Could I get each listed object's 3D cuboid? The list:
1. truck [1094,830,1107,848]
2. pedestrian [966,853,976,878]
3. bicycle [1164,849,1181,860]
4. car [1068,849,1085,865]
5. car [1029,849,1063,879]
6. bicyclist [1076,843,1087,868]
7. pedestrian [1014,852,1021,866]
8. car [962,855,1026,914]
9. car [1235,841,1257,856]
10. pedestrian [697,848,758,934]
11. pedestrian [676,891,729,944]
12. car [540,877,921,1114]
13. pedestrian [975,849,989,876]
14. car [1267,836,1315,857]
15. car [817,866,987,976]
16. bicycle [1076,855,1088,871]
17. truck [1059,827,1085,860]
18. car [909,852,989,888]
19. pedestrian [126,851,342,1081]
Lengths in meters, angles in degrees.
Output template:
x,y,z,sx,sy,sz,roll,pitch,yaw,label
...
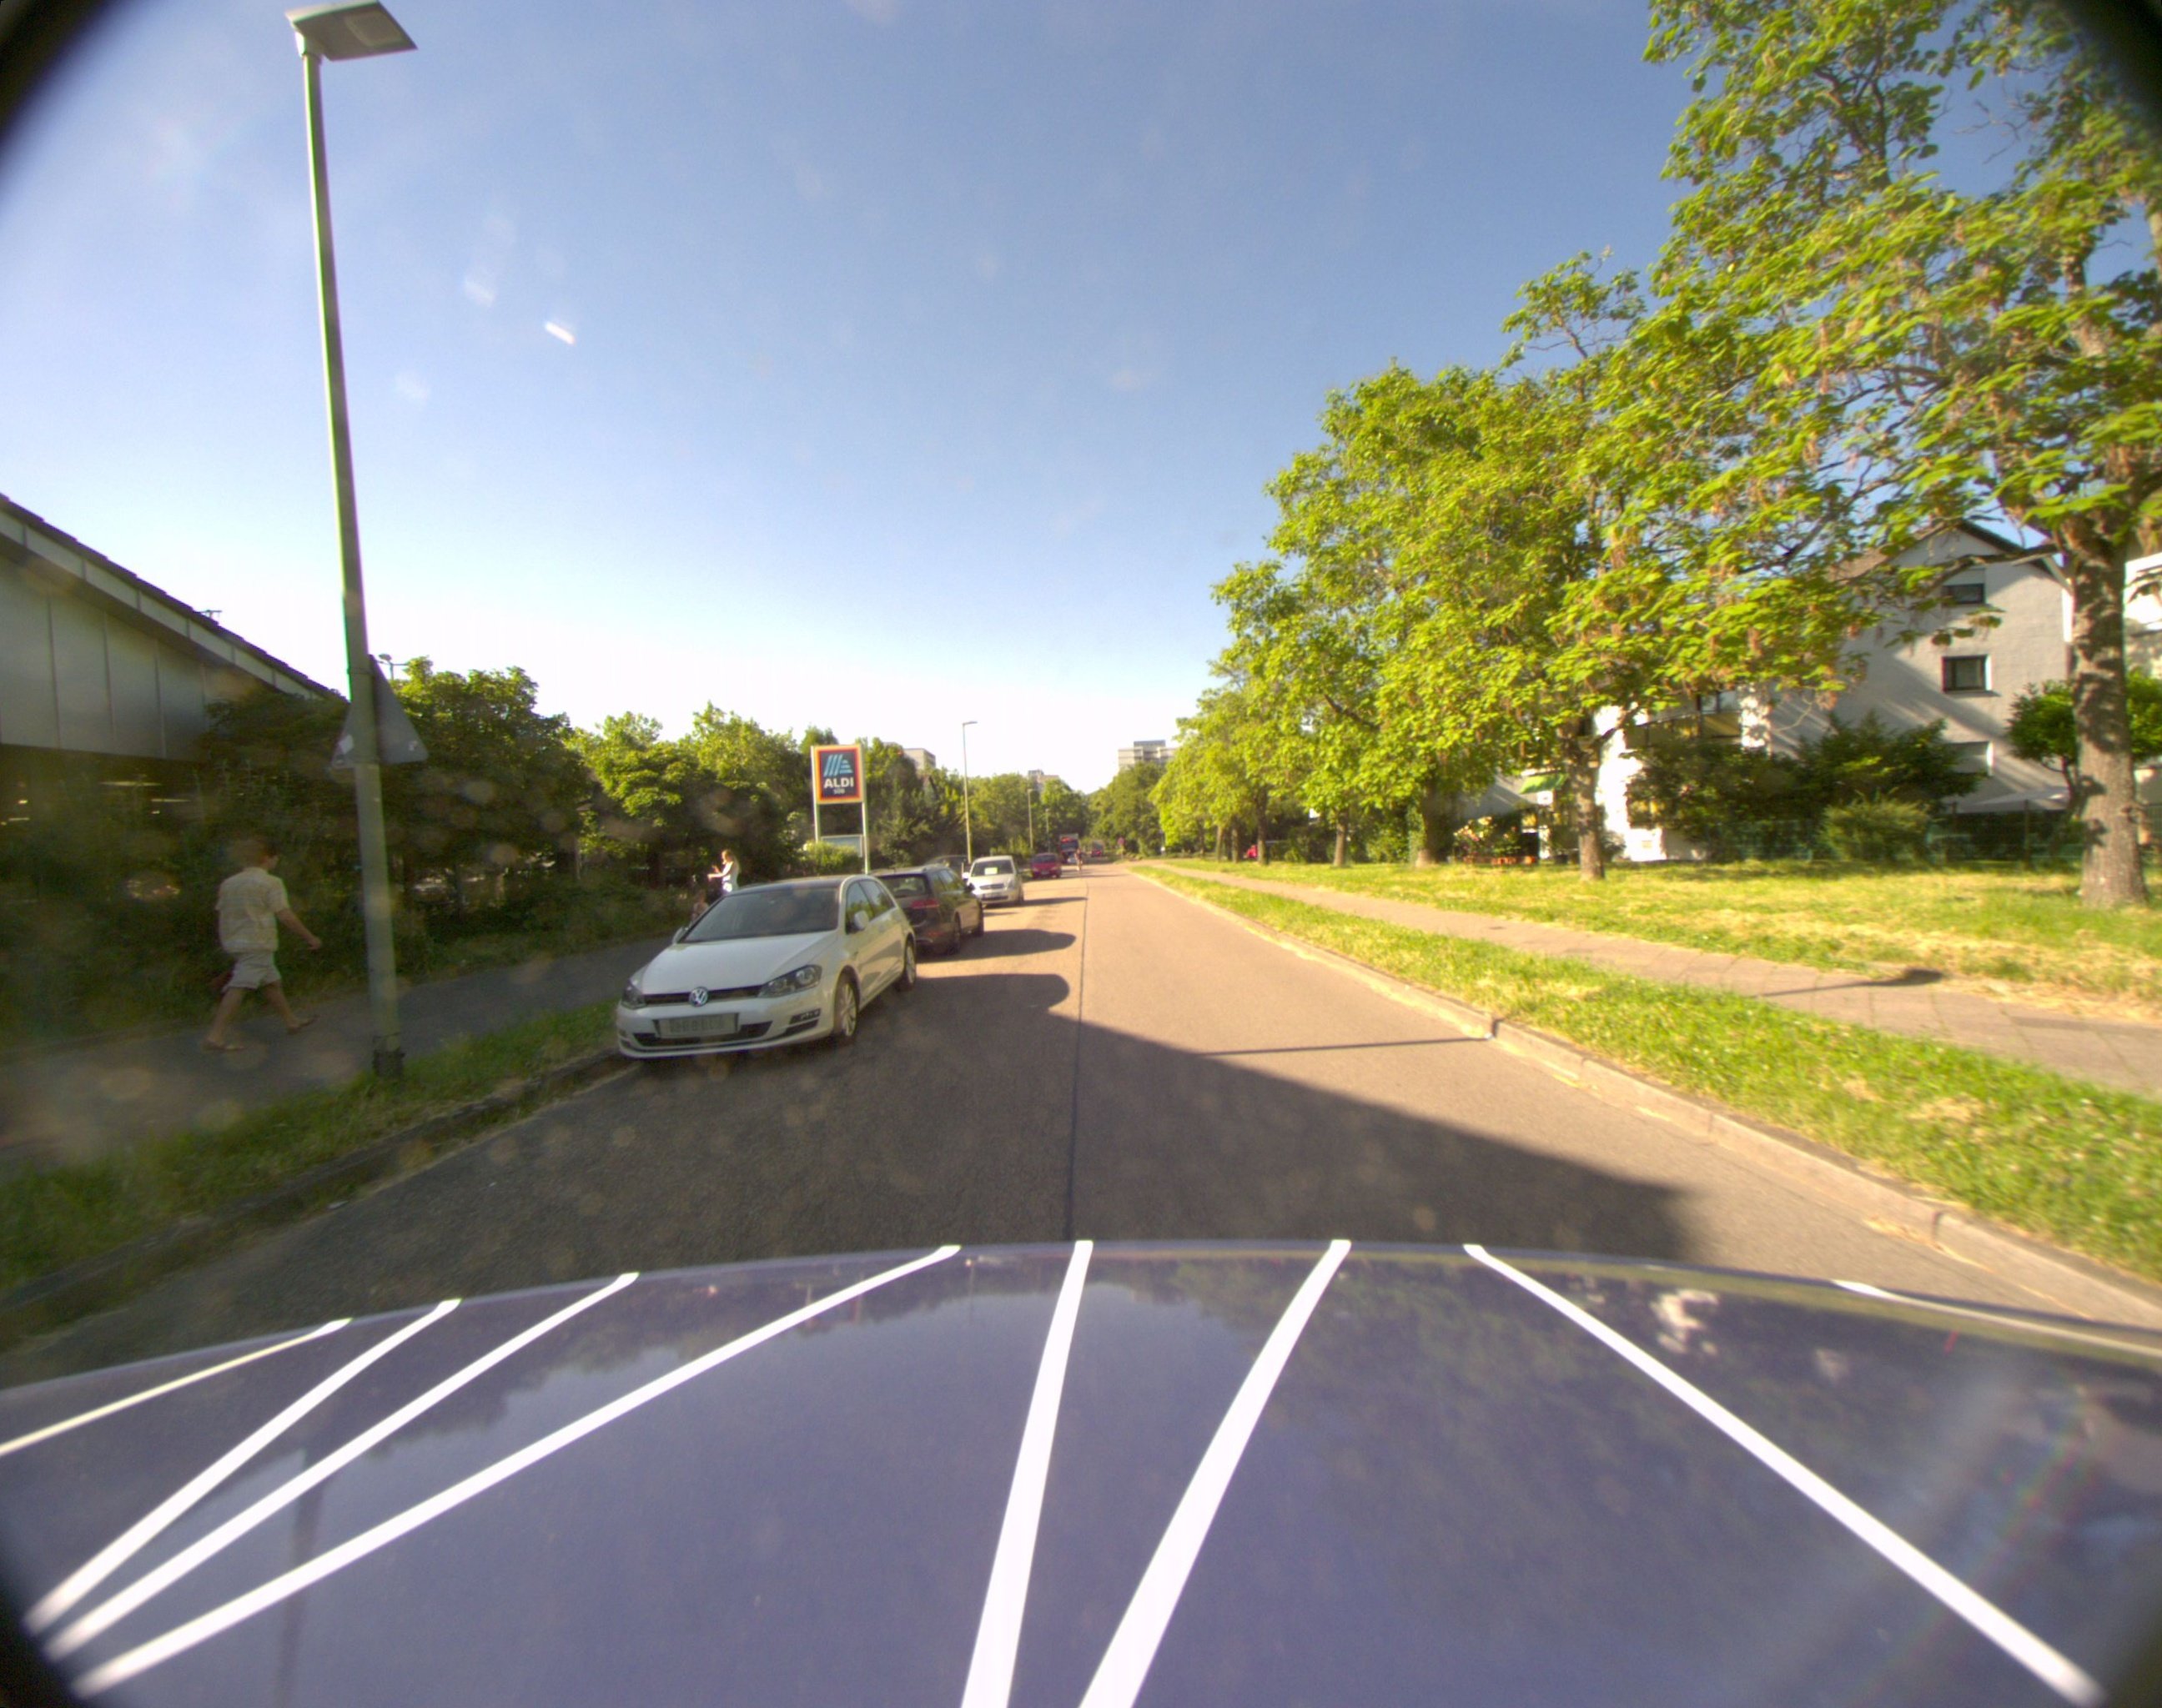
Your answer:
x,y,z,sx,sy,sz,roll,pitch,yaw,label
4.366,-3.390,171.211,2.803,3.996,9.623,-1,2,0,truck
-7.167,0.742,49.442,0.574,1.600,0.792,-1,2,-3,pedestrian
11.190,0.080,92.903,1.902,1.146,0.760,-2,4,11,bicycle
-0.533,0.378,92.459,1.845,1.795,4.028,-3,1,0,car
-2.324,0.615,51.273,1.844,1.795,4.653,-3,1,2,car
0.053,0.097,61.025,0.753,2.002,0.711,-3,1,-1,bicyclist
-7.390,0.558,88.019,0.641,1.629,0.641,-2,1,3,pedestrian
-2.724,0.900,24.570,1.684,1.590,4.026,-3,1,-3,car
19.117,-0.639,87.944,1.674,1.479,3.884,-2,2,0,car
-7.575,0.783,16.327,0.800,1.771,0.809,-2,1,9,pedestrian
-7.700,1.281,15.481,0.533,0.975,0.811,-3,1,9,pedestrian
-2.931,1.075,7.458,1.831,1.443,3.999,-3,1,-1,car
-6.439,0.574,49.428,0.806,1.707,0.983,-1,2,-3,pedestrian
21.794,-0.744,79.007,4.461,1.957,2.069,-2,0,4,car
-2.894,1.018,13.332,1.812,1.435,4.363,-3,0,1,car
0.043,0.703,60.740,0.863,1.164,3.030,-3,1,0,bicycle
-1.166,-1.494,106.418,3.166,4.320,10.582,-2,1,1,truck
-6.913,0.820,39.738,3.760,1.635,1.853,-3,1,-24,car
-7.376,0.915,6.679,0.796,1.850,0.874,-3,1,-6,pedestrian
